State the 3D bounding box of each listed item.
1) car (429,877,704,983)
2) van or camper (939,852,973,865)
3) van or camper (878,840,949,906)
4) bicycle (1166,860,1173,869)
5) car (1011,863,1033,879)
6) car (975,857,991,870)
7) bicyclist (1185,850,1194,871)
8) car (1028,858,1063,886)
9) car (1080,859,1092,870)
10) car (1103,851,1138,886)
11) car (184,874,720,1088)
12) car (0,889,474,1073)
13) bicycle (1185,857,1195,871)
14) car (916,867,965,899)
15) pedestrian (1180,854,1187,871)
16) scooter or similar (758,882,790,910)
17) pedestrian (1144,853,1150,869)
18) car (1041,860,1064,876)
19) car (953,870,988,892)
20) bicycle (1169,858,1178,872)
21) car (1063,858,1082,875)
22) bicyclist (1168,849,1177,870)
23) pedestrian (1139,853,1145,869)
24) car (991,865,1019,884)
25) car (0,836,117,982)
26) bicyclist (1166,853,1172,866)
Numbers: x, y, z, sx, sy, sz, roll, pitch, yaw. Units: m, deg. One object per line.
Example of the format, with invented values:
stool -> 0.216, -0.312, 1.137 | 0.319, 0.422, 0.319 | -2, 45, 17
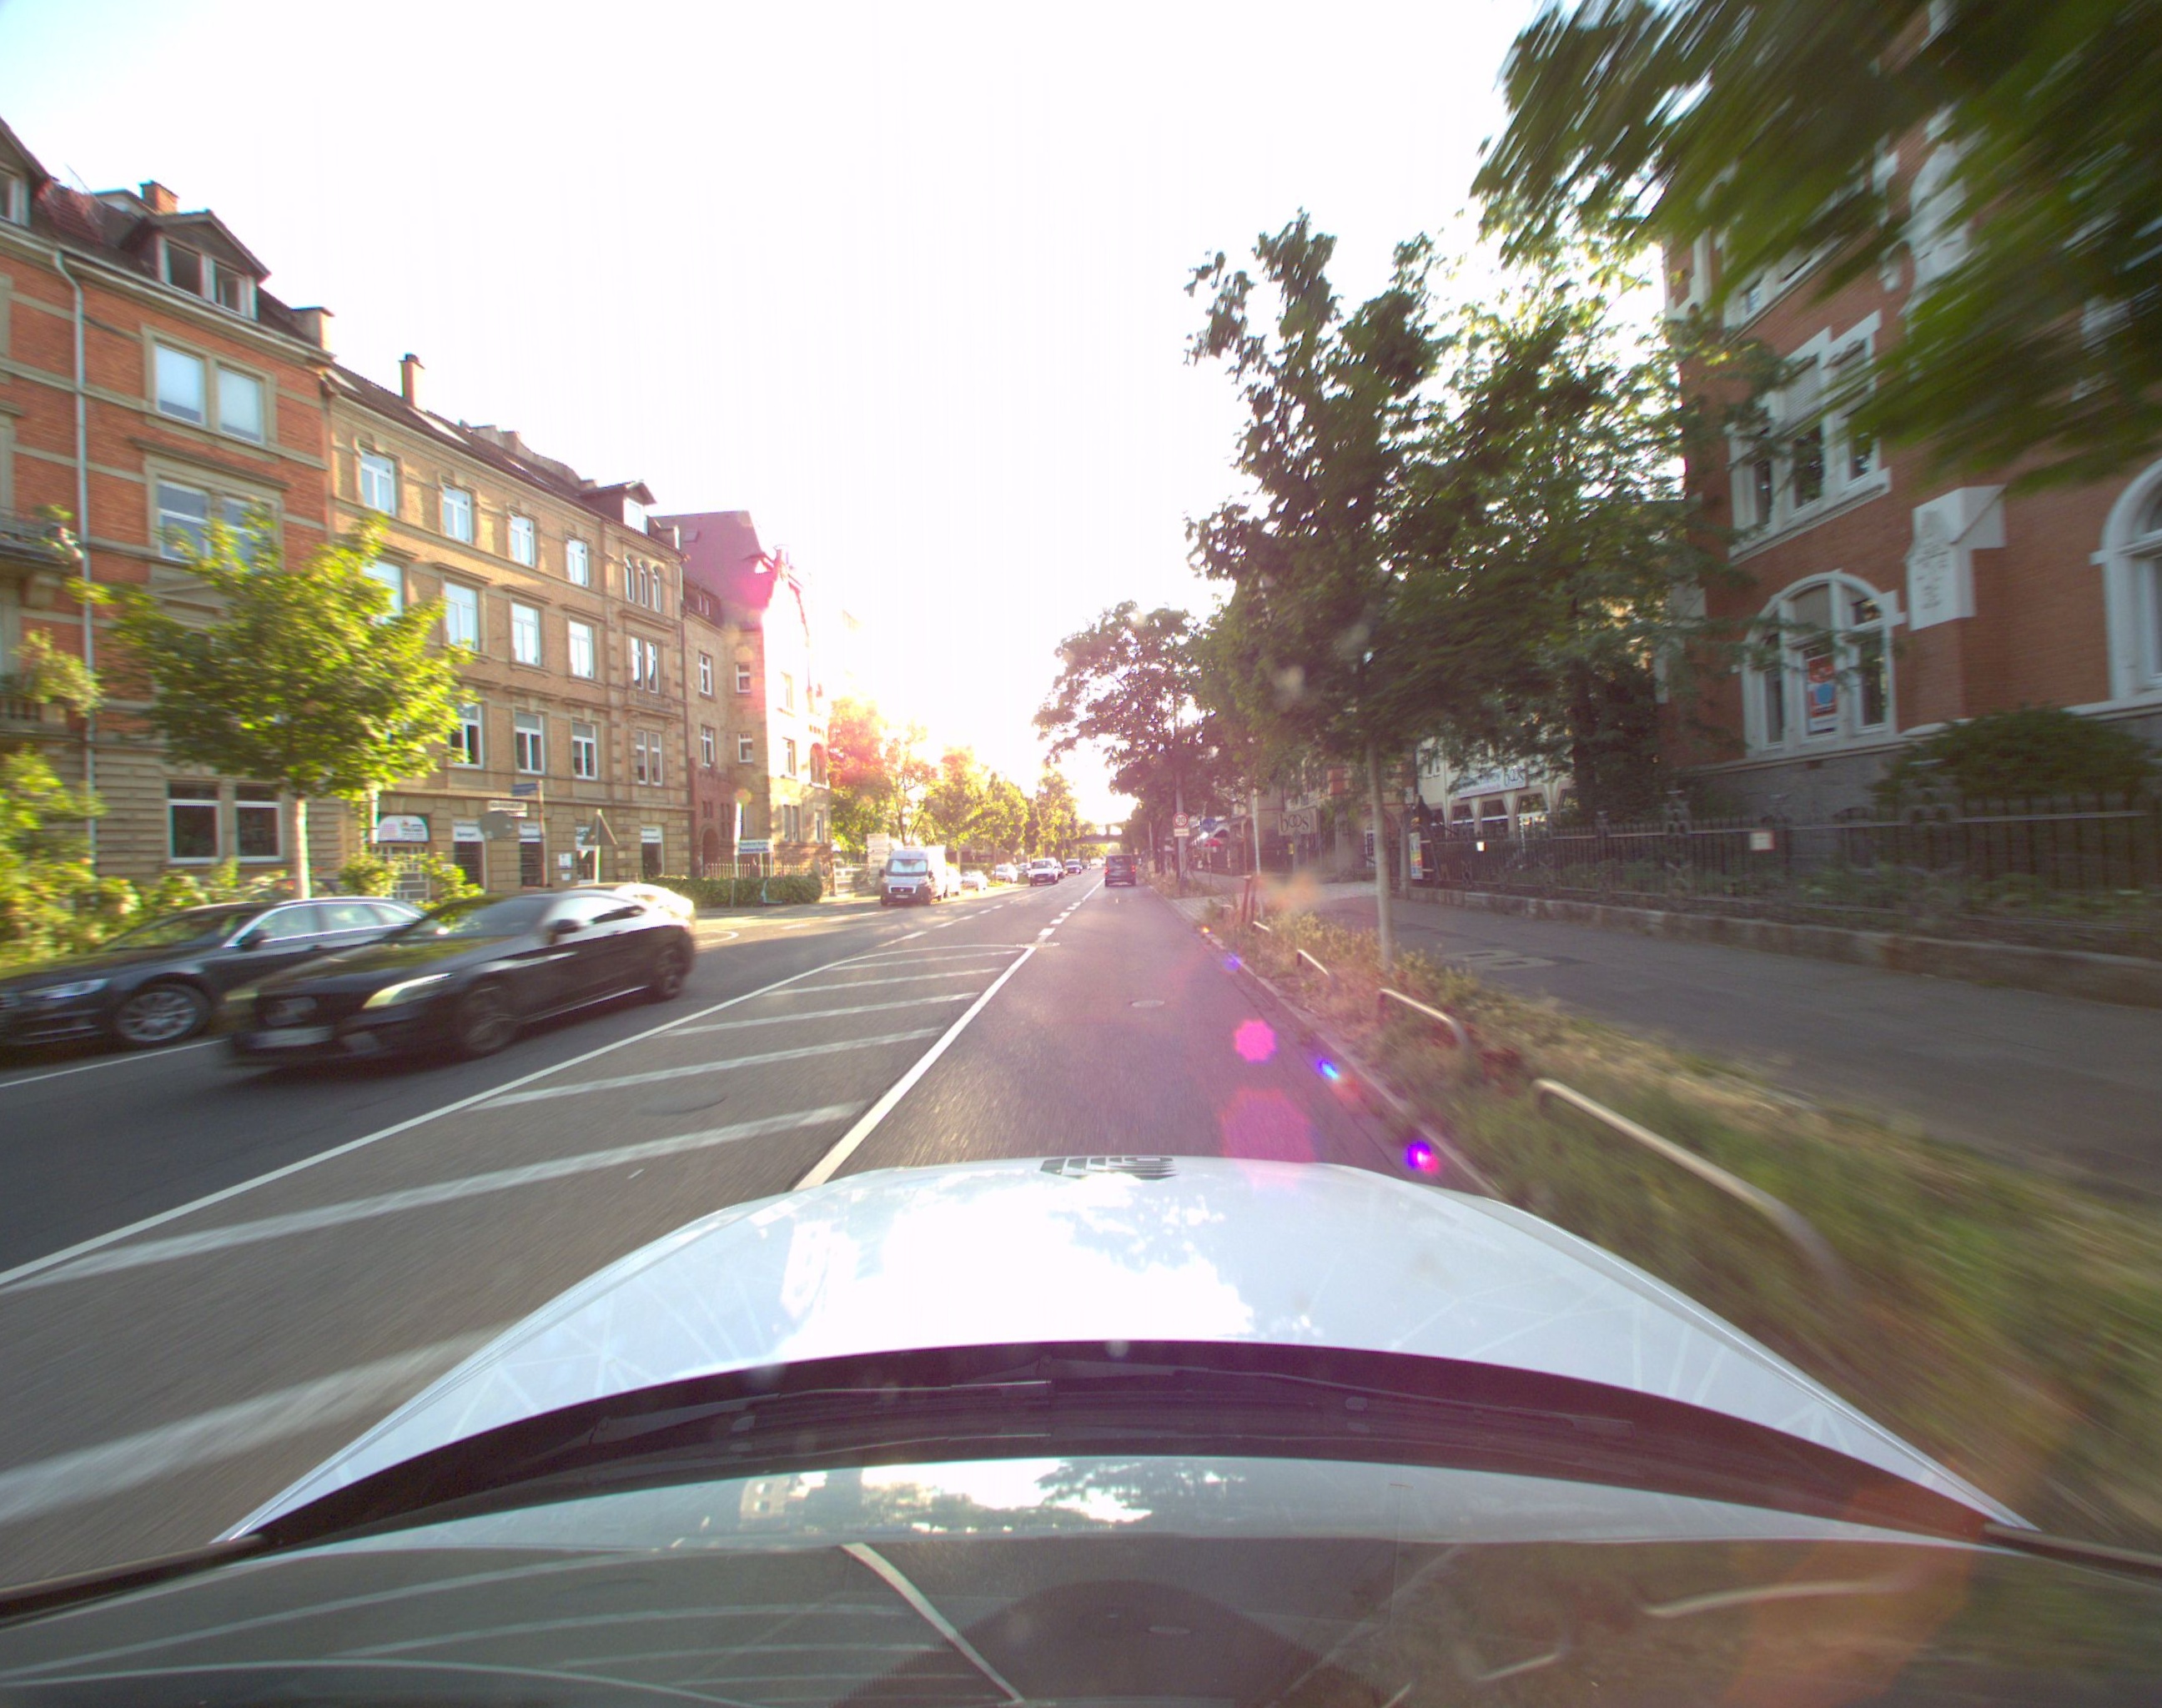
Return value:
car -> -9.454, 1.308, 15.608 | 1.986, 1.483, 4.832 | -3, 0, 2
van or camper -> -25.846, 1.010, 168.251 | 6.540, 2.522, 2.450 | -1, 0, 1
van or camper -> -7.401, 0.812, 36.600 | 1.988, 2.668, 6.034 | -1, 0, -1
bicycle -> 8.940, 1.060, 82.714 | 0.577, 0.897, 1.989 | -1, 0, 3
car -> -5.648, 1.625, 78.195 | 1.632, 1.385, 4.002 | -1, 0, 2
car -> -17.989, 1.729, 149.905 | 1.985, 2.307, 5.249 | -1, 0, 3
bicyclist -> 8.102, 0.499, 60.868 | 0.593, 1.532, 0.894 | -1, 0, 2
car -> -2.597, 1.301, 60.641 | 1.985, 1.831, 5.174 | -4, 0, 3
car -> 0.874, 1.781, 139.125 | 1.672, 1.530, 4.003 | -5, 0, 3
car -> 2.438, 0.849, 49.552 | 1.879, 1.925, 3.843 | -4, 0, 3
car -> -5.746, 1.011, 8.394 | 1.759, 1.402, 4.548 | -4, 0, 3
car -> -9.990, 1.291, 9.766 | 1.729, 1.445, 4.628 | -3, 0, 2
bicycle -> 8.118, 0.744, 60.737 | 0.515, 1.040, 2.090 | -1, 0, 3
car -> -7.444, 1.493, 43.491 | 1.739, 1.535, 4.304 | -1, 0, 2
pedestrian -> 10.011, 0.797, 79.568 | 0.642, 1.633, 0.656 | -1, 0, 3
scooter or similar -> -12.474, 1.708, 33.124 | 0.285, 1.057, 1.124 | -5, -1, 45
pedestrian -> 8.047, 0.867, 99.103 | 0.505, 1.889, 0.543 | -1, -1, -12
car -> -2.691, 1.298, 77.426 | 1.752, 1.386, 4.307 | -4, 0, 3
car -> -6.813, 1.653, 50.635 | 1.530, 1.248, 3.615 | -1, 0, 2
bicycle -> 7.013, 0.804, 61.959 | 0.542, 1.040, 2.090 | -1, 0, 3
car -> -0.992, 1.413, 95.790 | 1.826, 1.852, 4.475 | -4, 0, 2
bicyclist -> 6.993, 0.414, 61.976 | 0.593, 1.532, 0.894 | -1, 0, 2
pedestrian -> 7.508, 0.848, 100.008 | 0.505, 1.889, 0.543 | -1, -1, -12
car -> -6.077, 1.616, 65.521 | 1.690, 1.451, 4.002 | -1, 0, 2
car -> -21.988, 1.162, 14.779 | 2.100, 2.739, 5.342 | -5, 0, 28
bicyclist -> 8.931, 0.554, 82.781 | 0.583, 1.236, 1.113 | -1, 0, 2
